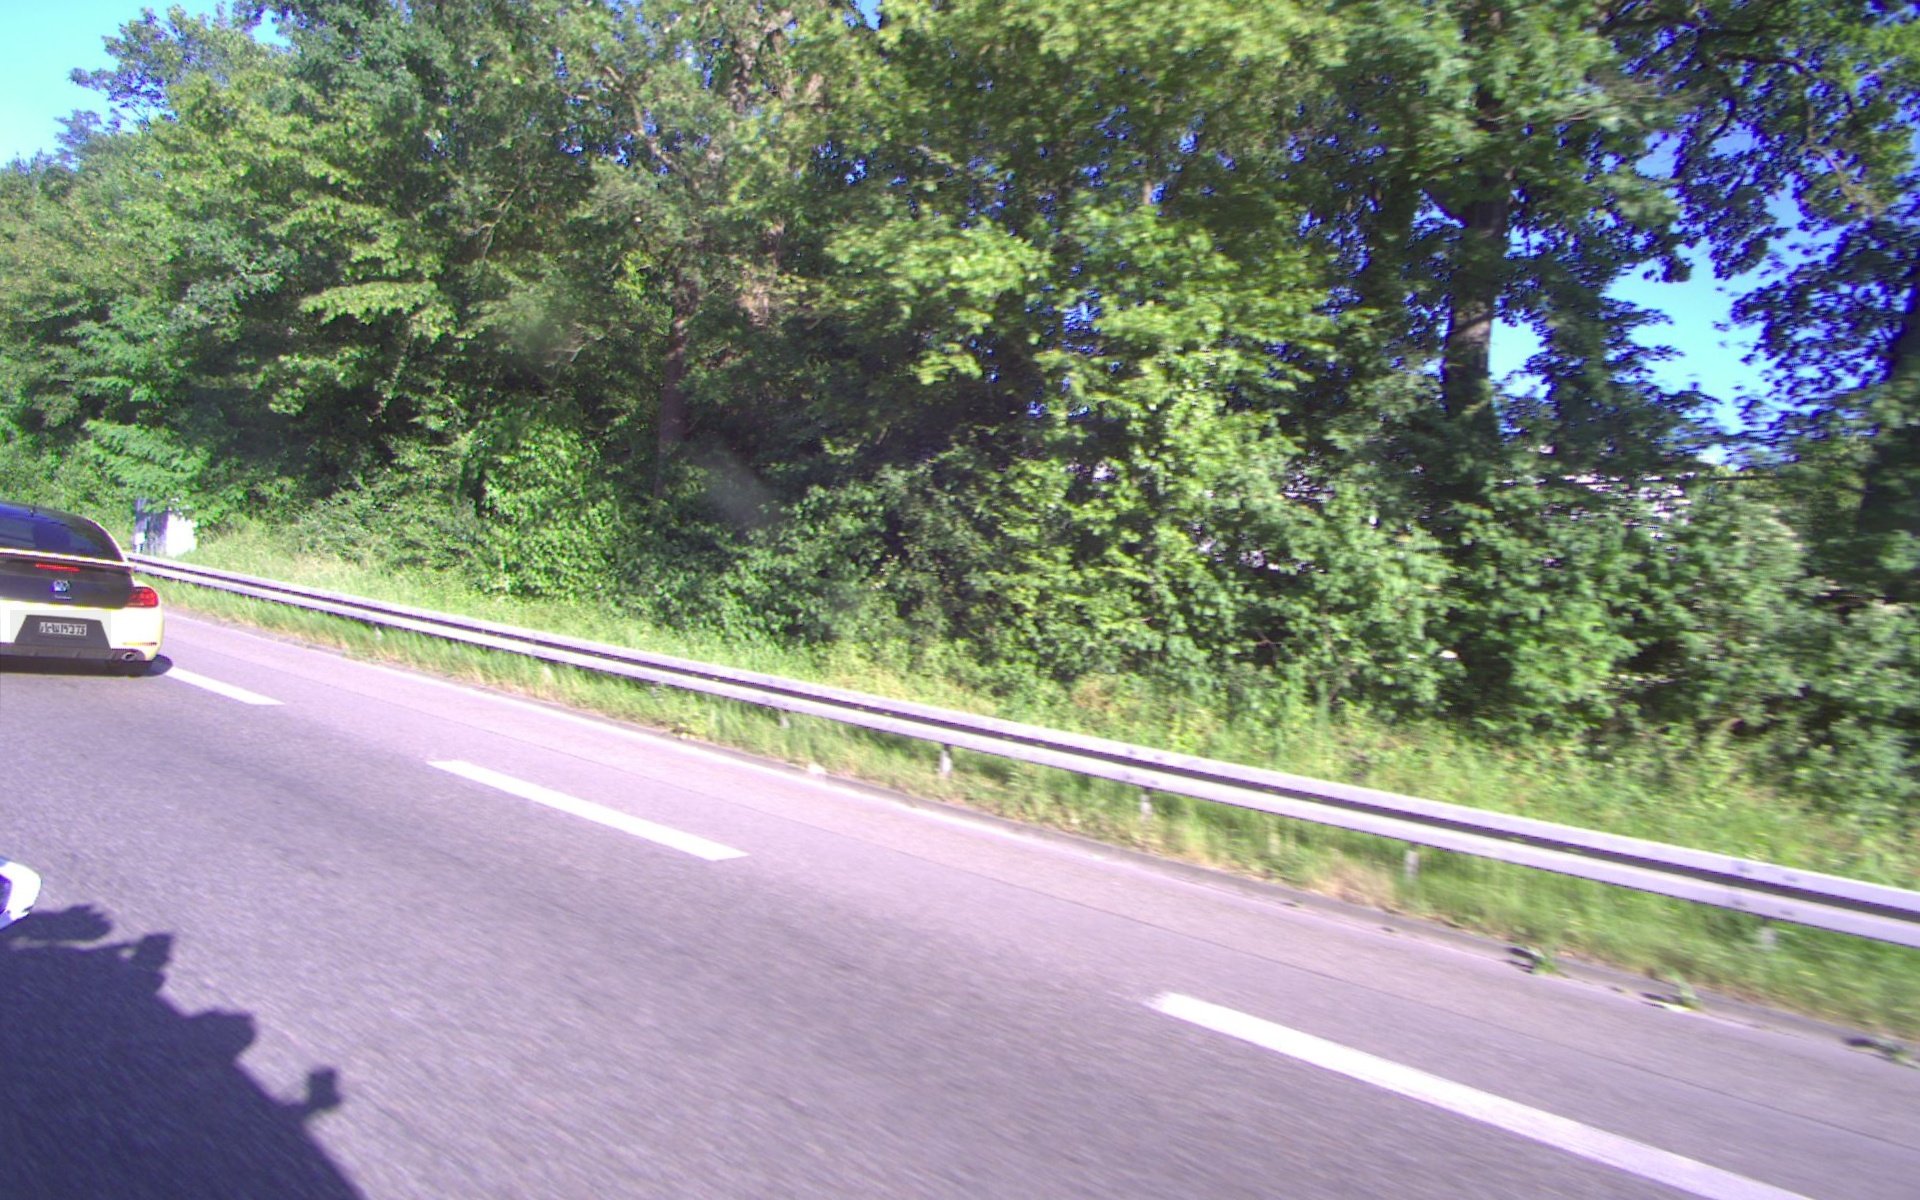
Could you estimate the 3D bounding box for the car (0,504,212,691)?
[{"bbox_3d":[-9.360,-0.195,9.710,4.284,1.478,1.883,7,-2,32],"label":"car"}]
